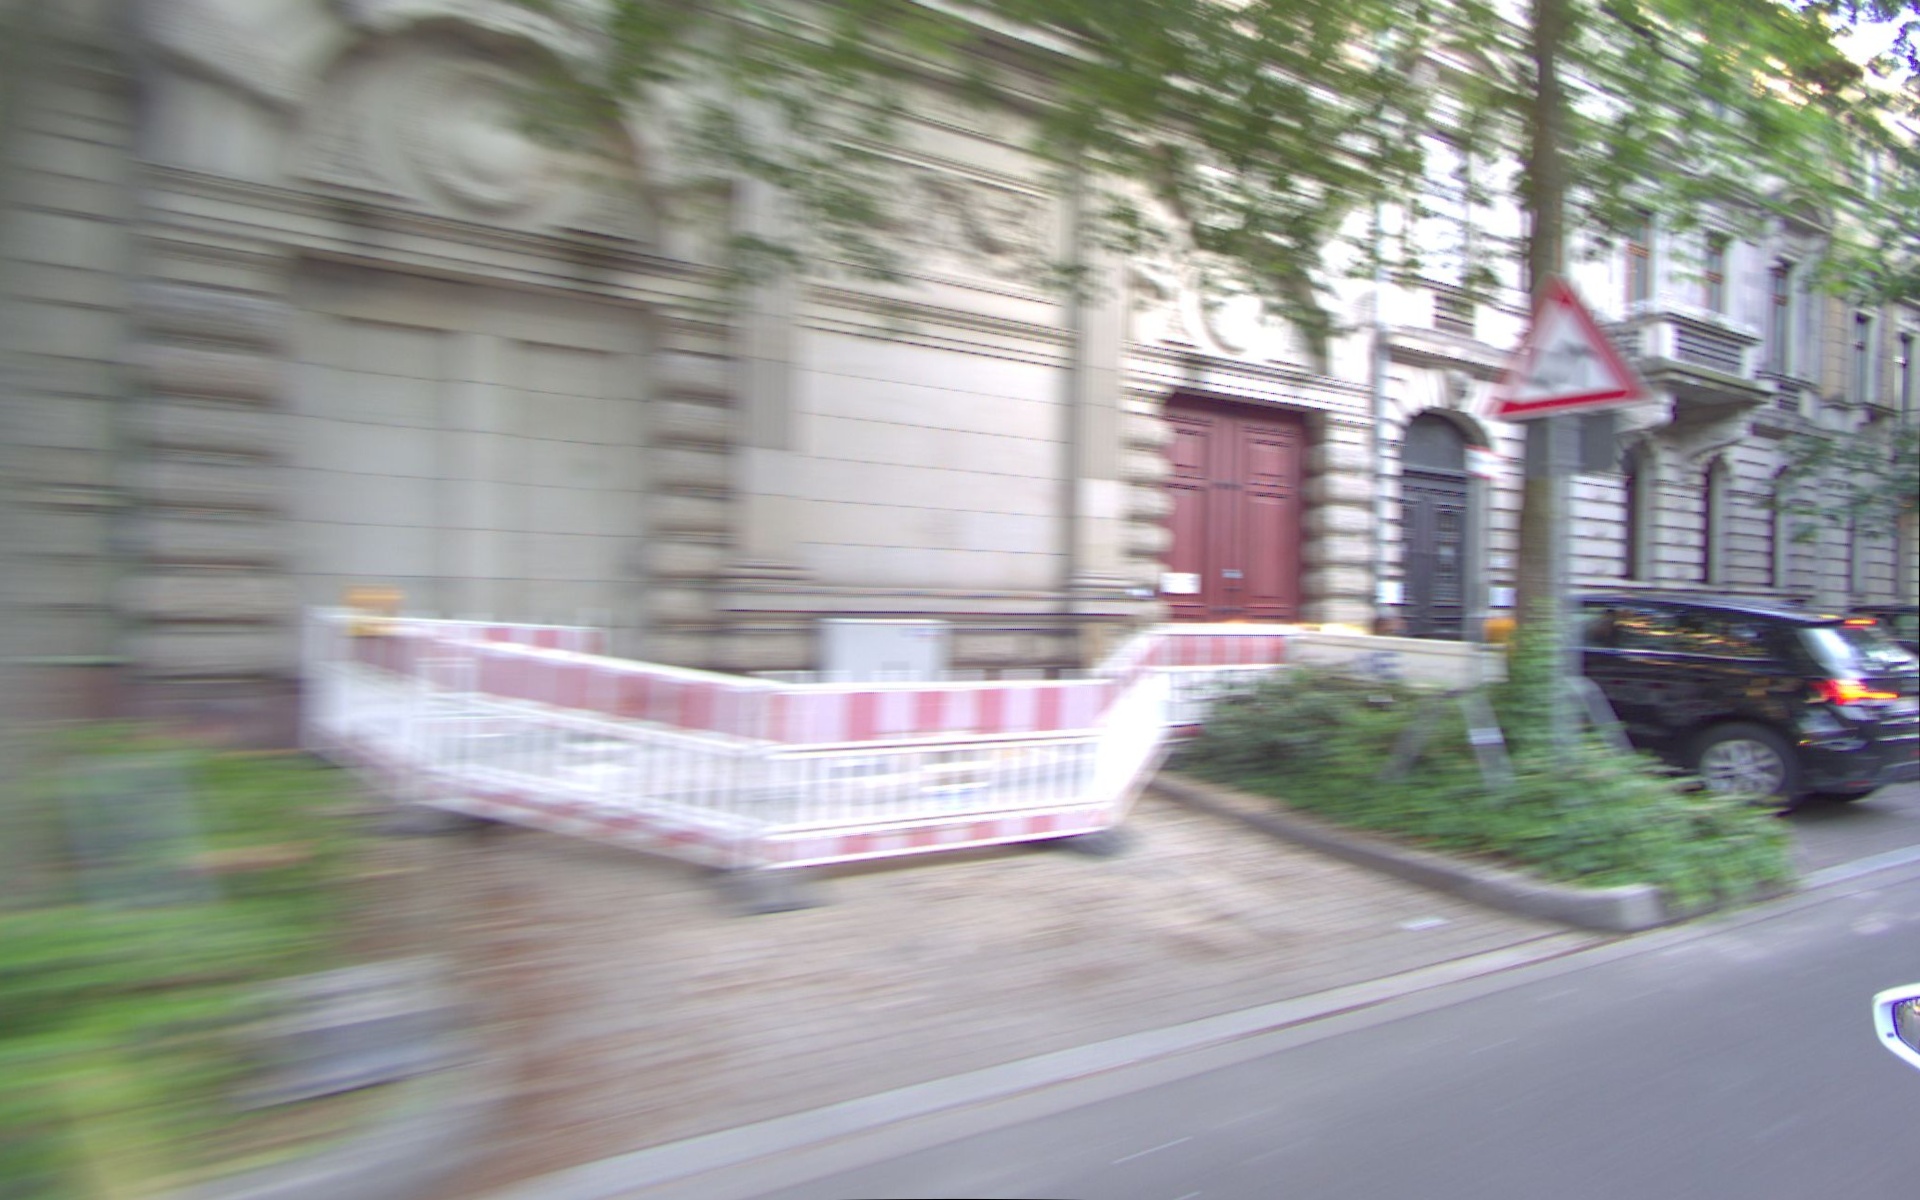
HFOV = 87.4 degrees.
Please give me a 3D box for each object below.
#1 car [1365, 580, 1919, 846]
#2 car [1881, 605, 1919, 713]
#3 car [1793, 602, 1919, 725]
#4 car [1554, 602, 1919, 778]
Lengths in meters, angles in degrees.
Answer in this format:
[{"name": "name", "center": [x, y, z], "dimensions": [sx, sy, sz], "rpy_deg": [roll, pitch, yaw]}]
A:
[{"name": "car", "center": [5.911, 0.763, 9.025], "dimensions": [1.759, 1.618, 3.948], "rpy_deg": [1, 3, -28]}, {"name": "car", "center": [16.790, 0.999, 14.920], "dimensions": [1.884, 1.694, 4.183], "rpy_deg": [0, 2, -28]}, {"name": "car", "center": [14.517, 0.937, 14.241], "dimensions": [1.693, 1.694, 3.783], "rpy_deg": [0, 2, -29]}, {"name": "car", "center": [8.888, 0.845, 10.805], "dimensions": [1.742, 1.406, 3.949], "rpy_deg": [0, 3, -27]}]
